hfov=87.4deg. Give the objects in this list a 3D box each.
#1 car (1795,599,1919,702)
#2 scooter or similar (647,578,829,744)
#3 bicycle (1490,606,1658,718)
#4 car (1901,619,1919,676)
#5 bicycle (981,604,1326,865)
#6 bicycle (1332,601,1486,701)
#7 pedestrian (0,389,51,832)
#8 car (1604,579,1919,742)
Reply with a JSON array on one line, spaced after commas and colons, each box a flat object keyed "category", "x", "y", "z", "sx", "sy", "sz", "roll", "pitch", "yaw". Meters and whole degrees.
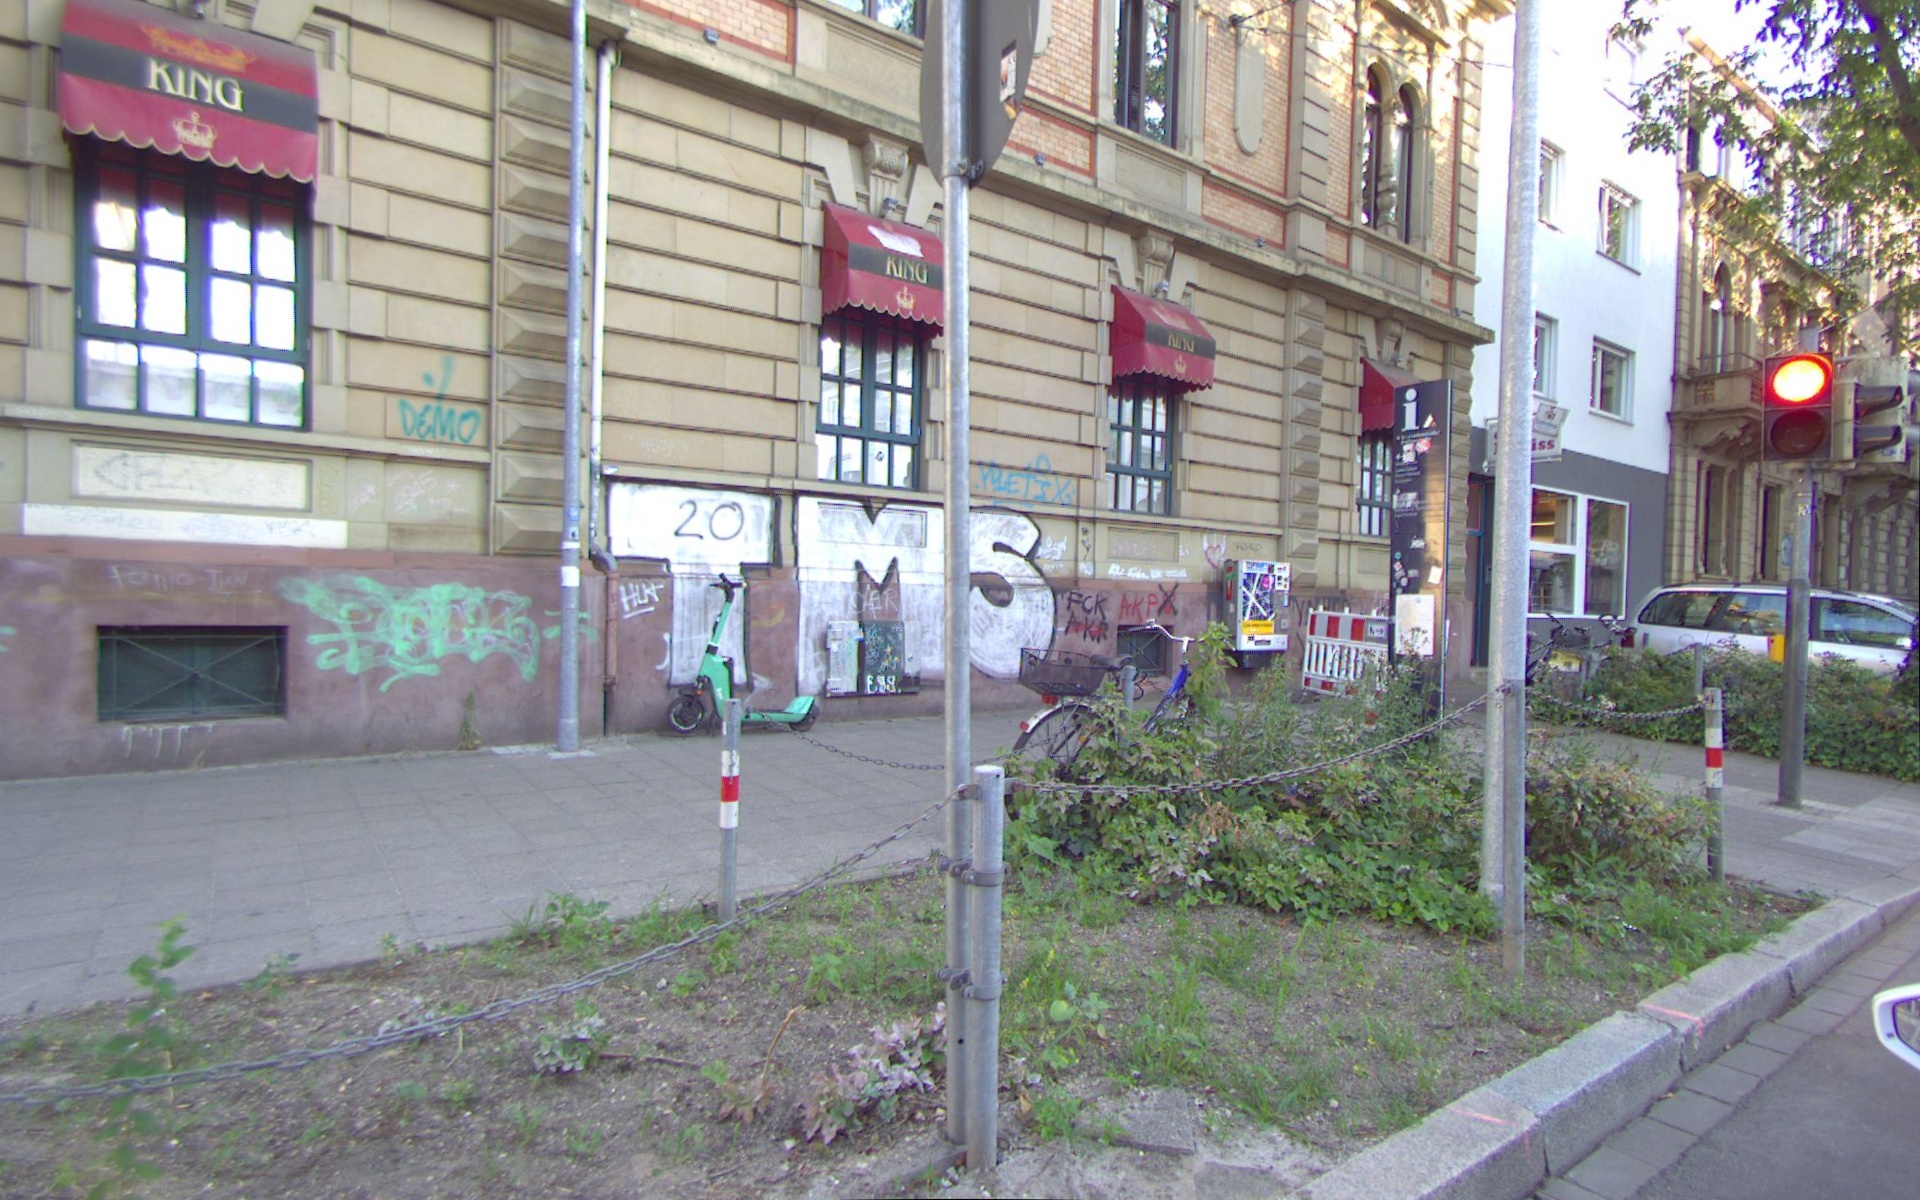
[{"category": "car", "x": 17.321, "y": 0.891, "z": 17.046, "sx": 1.815, "sy": 1.711, "sz": 4.518, "roll": 1, "pitch": 0, "yaw": -35}, {"category": "scooter or similar", "x": -1.698, "y": 0.451, "z": 7.691, "sx": 1.269, "sy": 1.183, "sz": 0.437, "roll": 1, "pitch": 2, "yaw": -24}, {"category": "bicycle", "x": 7.445, "y": 0.707, "z": 12.118, "sx": 2.608, "sy": 1.202, "sz": 0.729, "roll": 1, "pitch": 2, "yaw": -36}, {"category": "car", "x": 25.264, "y": 1.208, "z": 23.459, "sx": 1.815, "sy": 1.390, "sz": 4.518, "roll": 1, "pitch": 0, "yaw": -35}, {"category": "bicycle", "x": 1.107, "y": 0.626, "z": 5.393, "sx": 2.081, "sy": 1.169, "sz": 0.507, "roll": 1, "pitch": 3, "yaw": -37}, {"category": "bicycle", "x": 5.992, "y": 0.650, "z": 13.311, "sx": 2.538, "sy": 1.218, "sz": 0.632, "roll": 1, "pitch": 0, "yaw": -35}, {"category": "pedestrian", "x": -4.400, "y": 0.047, "z": 3.705, "sx": 1.244, "sy": 1.762, "sz": 0.849, "roll": 0, "pitch": 2, "yaw": -10}, {"category": "car", "x": 11.131, "y": 0.696, "z": 12.854, "sx": 1.817, "sy": 1.859, "sz": 4.512, "roll": 1, "pitch": 0, "yaw": -38}]
